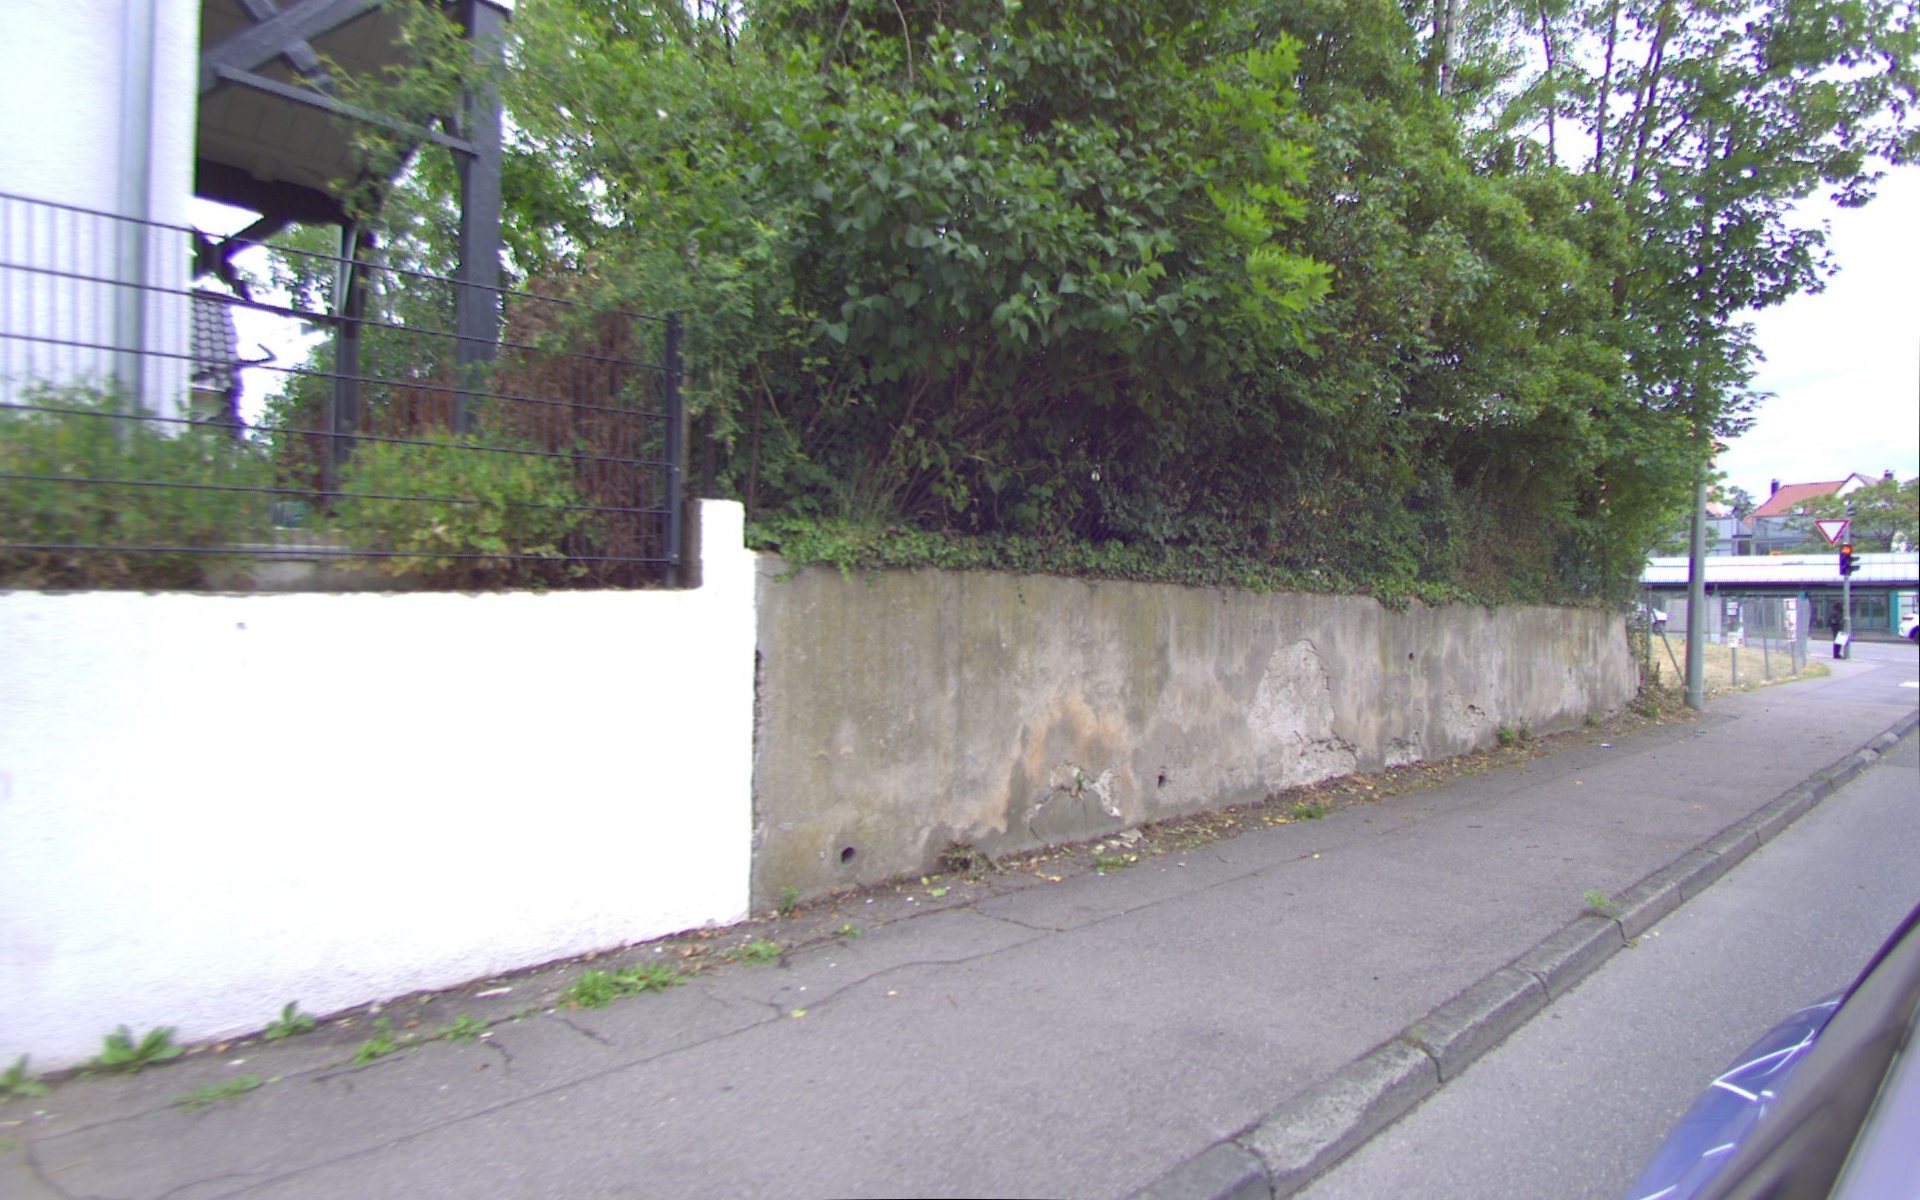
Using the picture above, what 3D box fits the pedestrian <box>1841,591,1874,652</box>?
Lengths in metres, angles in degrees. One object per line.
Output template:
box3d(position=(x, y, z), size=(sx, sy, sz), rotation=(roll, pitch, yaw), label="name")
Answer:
box3d(position=(24.478, 0.587, 27.598), size=(0.661, 1.610, 0.552), rotation=(1, 2, -44), label="pedestrian")

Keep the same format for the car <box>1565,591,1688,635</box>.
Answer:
box3d(position=(27.481, 0.481, 41.800), size=(3.987, 1.714, 1.944), rotation=(1, 0, 44), label="car")
